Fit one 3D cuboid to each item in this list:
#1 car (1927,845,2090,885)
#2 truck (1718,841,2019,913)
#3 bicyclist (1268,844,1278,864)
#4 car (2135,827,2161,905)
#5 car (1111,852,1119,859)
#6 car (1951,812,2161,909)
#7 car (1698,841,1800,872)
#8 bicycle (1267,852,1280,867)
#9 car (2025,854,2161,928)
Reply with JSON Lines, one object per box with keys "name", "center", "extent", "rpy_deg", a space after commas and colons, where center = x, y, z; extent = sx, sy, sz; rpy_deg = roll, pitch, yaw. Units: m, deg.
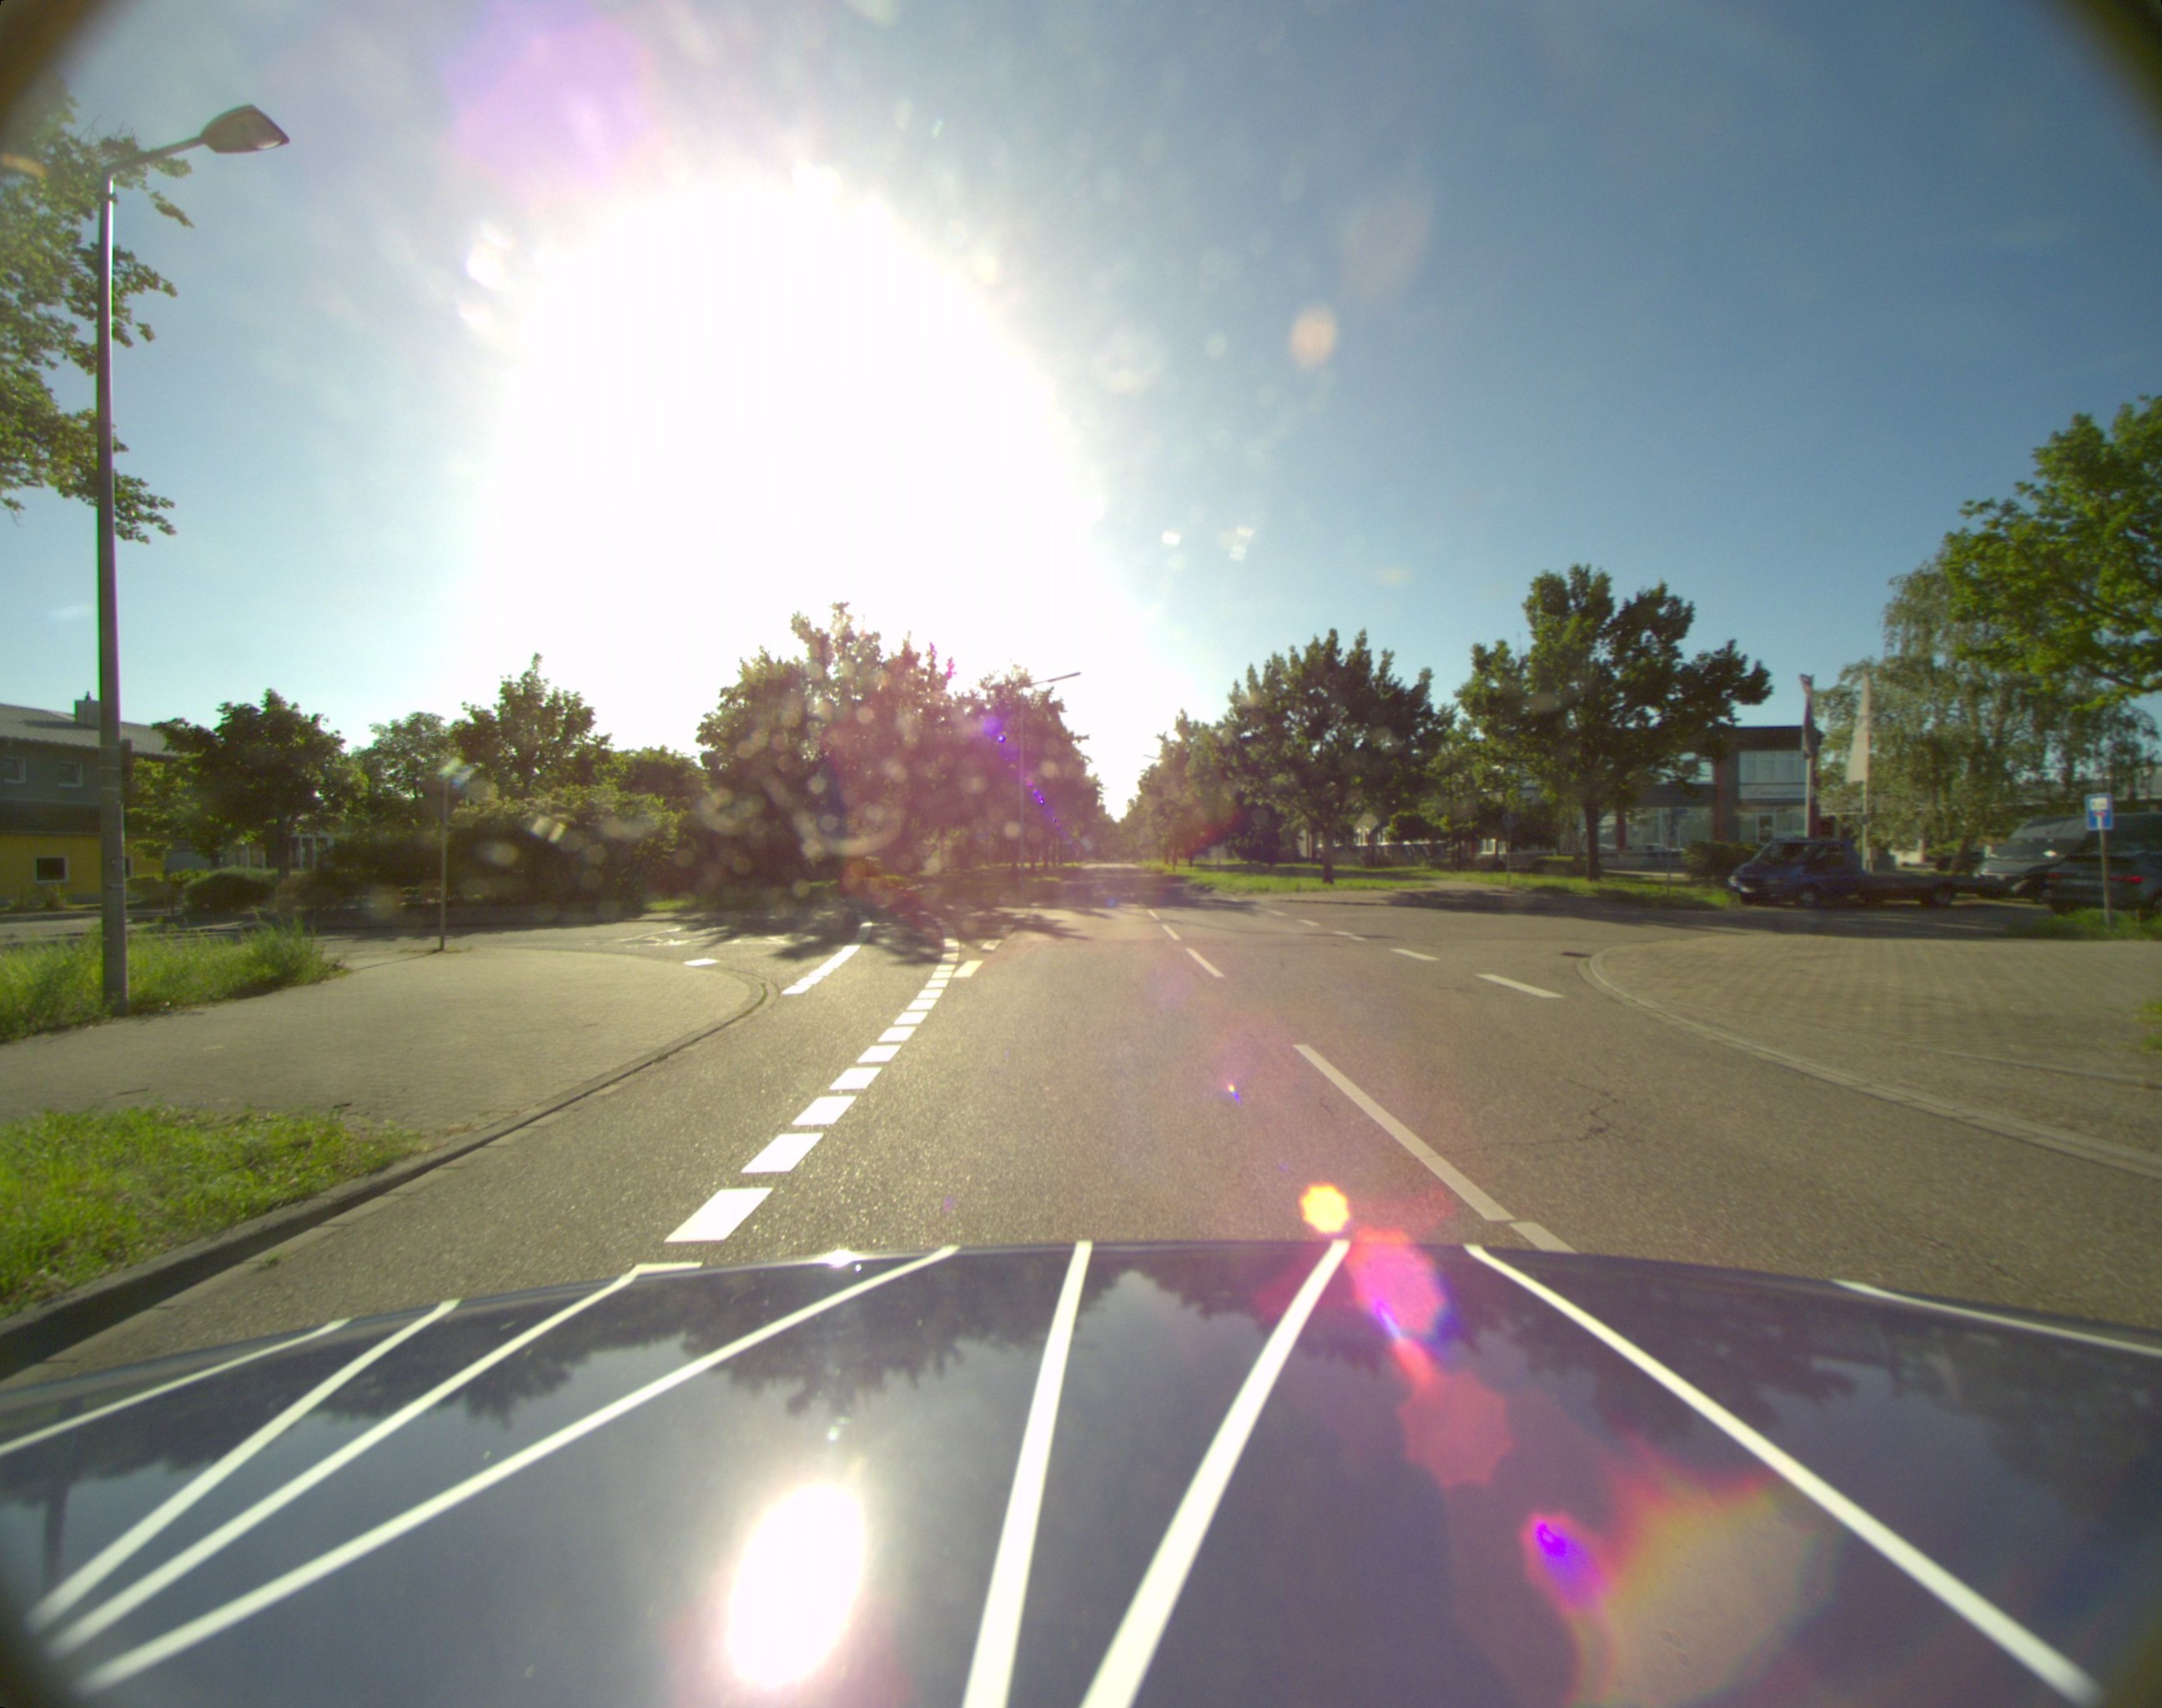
{"name": "car", "center": [41.375, 0.441, 34.096], "extent": [1.999, 1.486, 4.296], "rpy_deg": [-2, 3, -2]}
{"name": "truck", "center": [23.721, 0.636, 23.074], "extent": [7.130, 2.038, 2.140], "rpy_deg": [0, 1, -2]}
{"name": "bicyclist", "center": [16.121, -0.003, 63.905], "extent": [0.665, 1.619, 0.659], "rpy_deg": [-2, 1, 1]}
{"name": "car", "center": [38.426, 0.290, 24.474], "extent": [6.357, 2.501, 2.300], "rpy_deg": [-2, 1, -5]}
{"name": "car", "center": [8.218, 0.340, 183.453], "extent": [1.827, 1.477, 3.999], "rpy_deg": [-2, 1, -1]}
{"name": "car", "center": [31.105, 0.130, 23.613], "extent": [5.878, 2.687, 2.300], "rpy_deg": [-2, 1, -5]}
{"name": "car", "center": [38.028, 0.099, 43.415], "extent": [1.999, 1.486, 4.296], "rpy_deg": [-2, 3, -2]}
{"name": "bicycle", "center": [16.168, 0.470, 63.963], "extent": [0.552, 1.155, 2.334], "rpy_deg": [-2, 1, 2]}
{"name": "car", "center": [25.116, 0.819, 17.633], "extent": [4.296, 1.586, 1.758], "rpy_deg": [0, 2, -2]}
